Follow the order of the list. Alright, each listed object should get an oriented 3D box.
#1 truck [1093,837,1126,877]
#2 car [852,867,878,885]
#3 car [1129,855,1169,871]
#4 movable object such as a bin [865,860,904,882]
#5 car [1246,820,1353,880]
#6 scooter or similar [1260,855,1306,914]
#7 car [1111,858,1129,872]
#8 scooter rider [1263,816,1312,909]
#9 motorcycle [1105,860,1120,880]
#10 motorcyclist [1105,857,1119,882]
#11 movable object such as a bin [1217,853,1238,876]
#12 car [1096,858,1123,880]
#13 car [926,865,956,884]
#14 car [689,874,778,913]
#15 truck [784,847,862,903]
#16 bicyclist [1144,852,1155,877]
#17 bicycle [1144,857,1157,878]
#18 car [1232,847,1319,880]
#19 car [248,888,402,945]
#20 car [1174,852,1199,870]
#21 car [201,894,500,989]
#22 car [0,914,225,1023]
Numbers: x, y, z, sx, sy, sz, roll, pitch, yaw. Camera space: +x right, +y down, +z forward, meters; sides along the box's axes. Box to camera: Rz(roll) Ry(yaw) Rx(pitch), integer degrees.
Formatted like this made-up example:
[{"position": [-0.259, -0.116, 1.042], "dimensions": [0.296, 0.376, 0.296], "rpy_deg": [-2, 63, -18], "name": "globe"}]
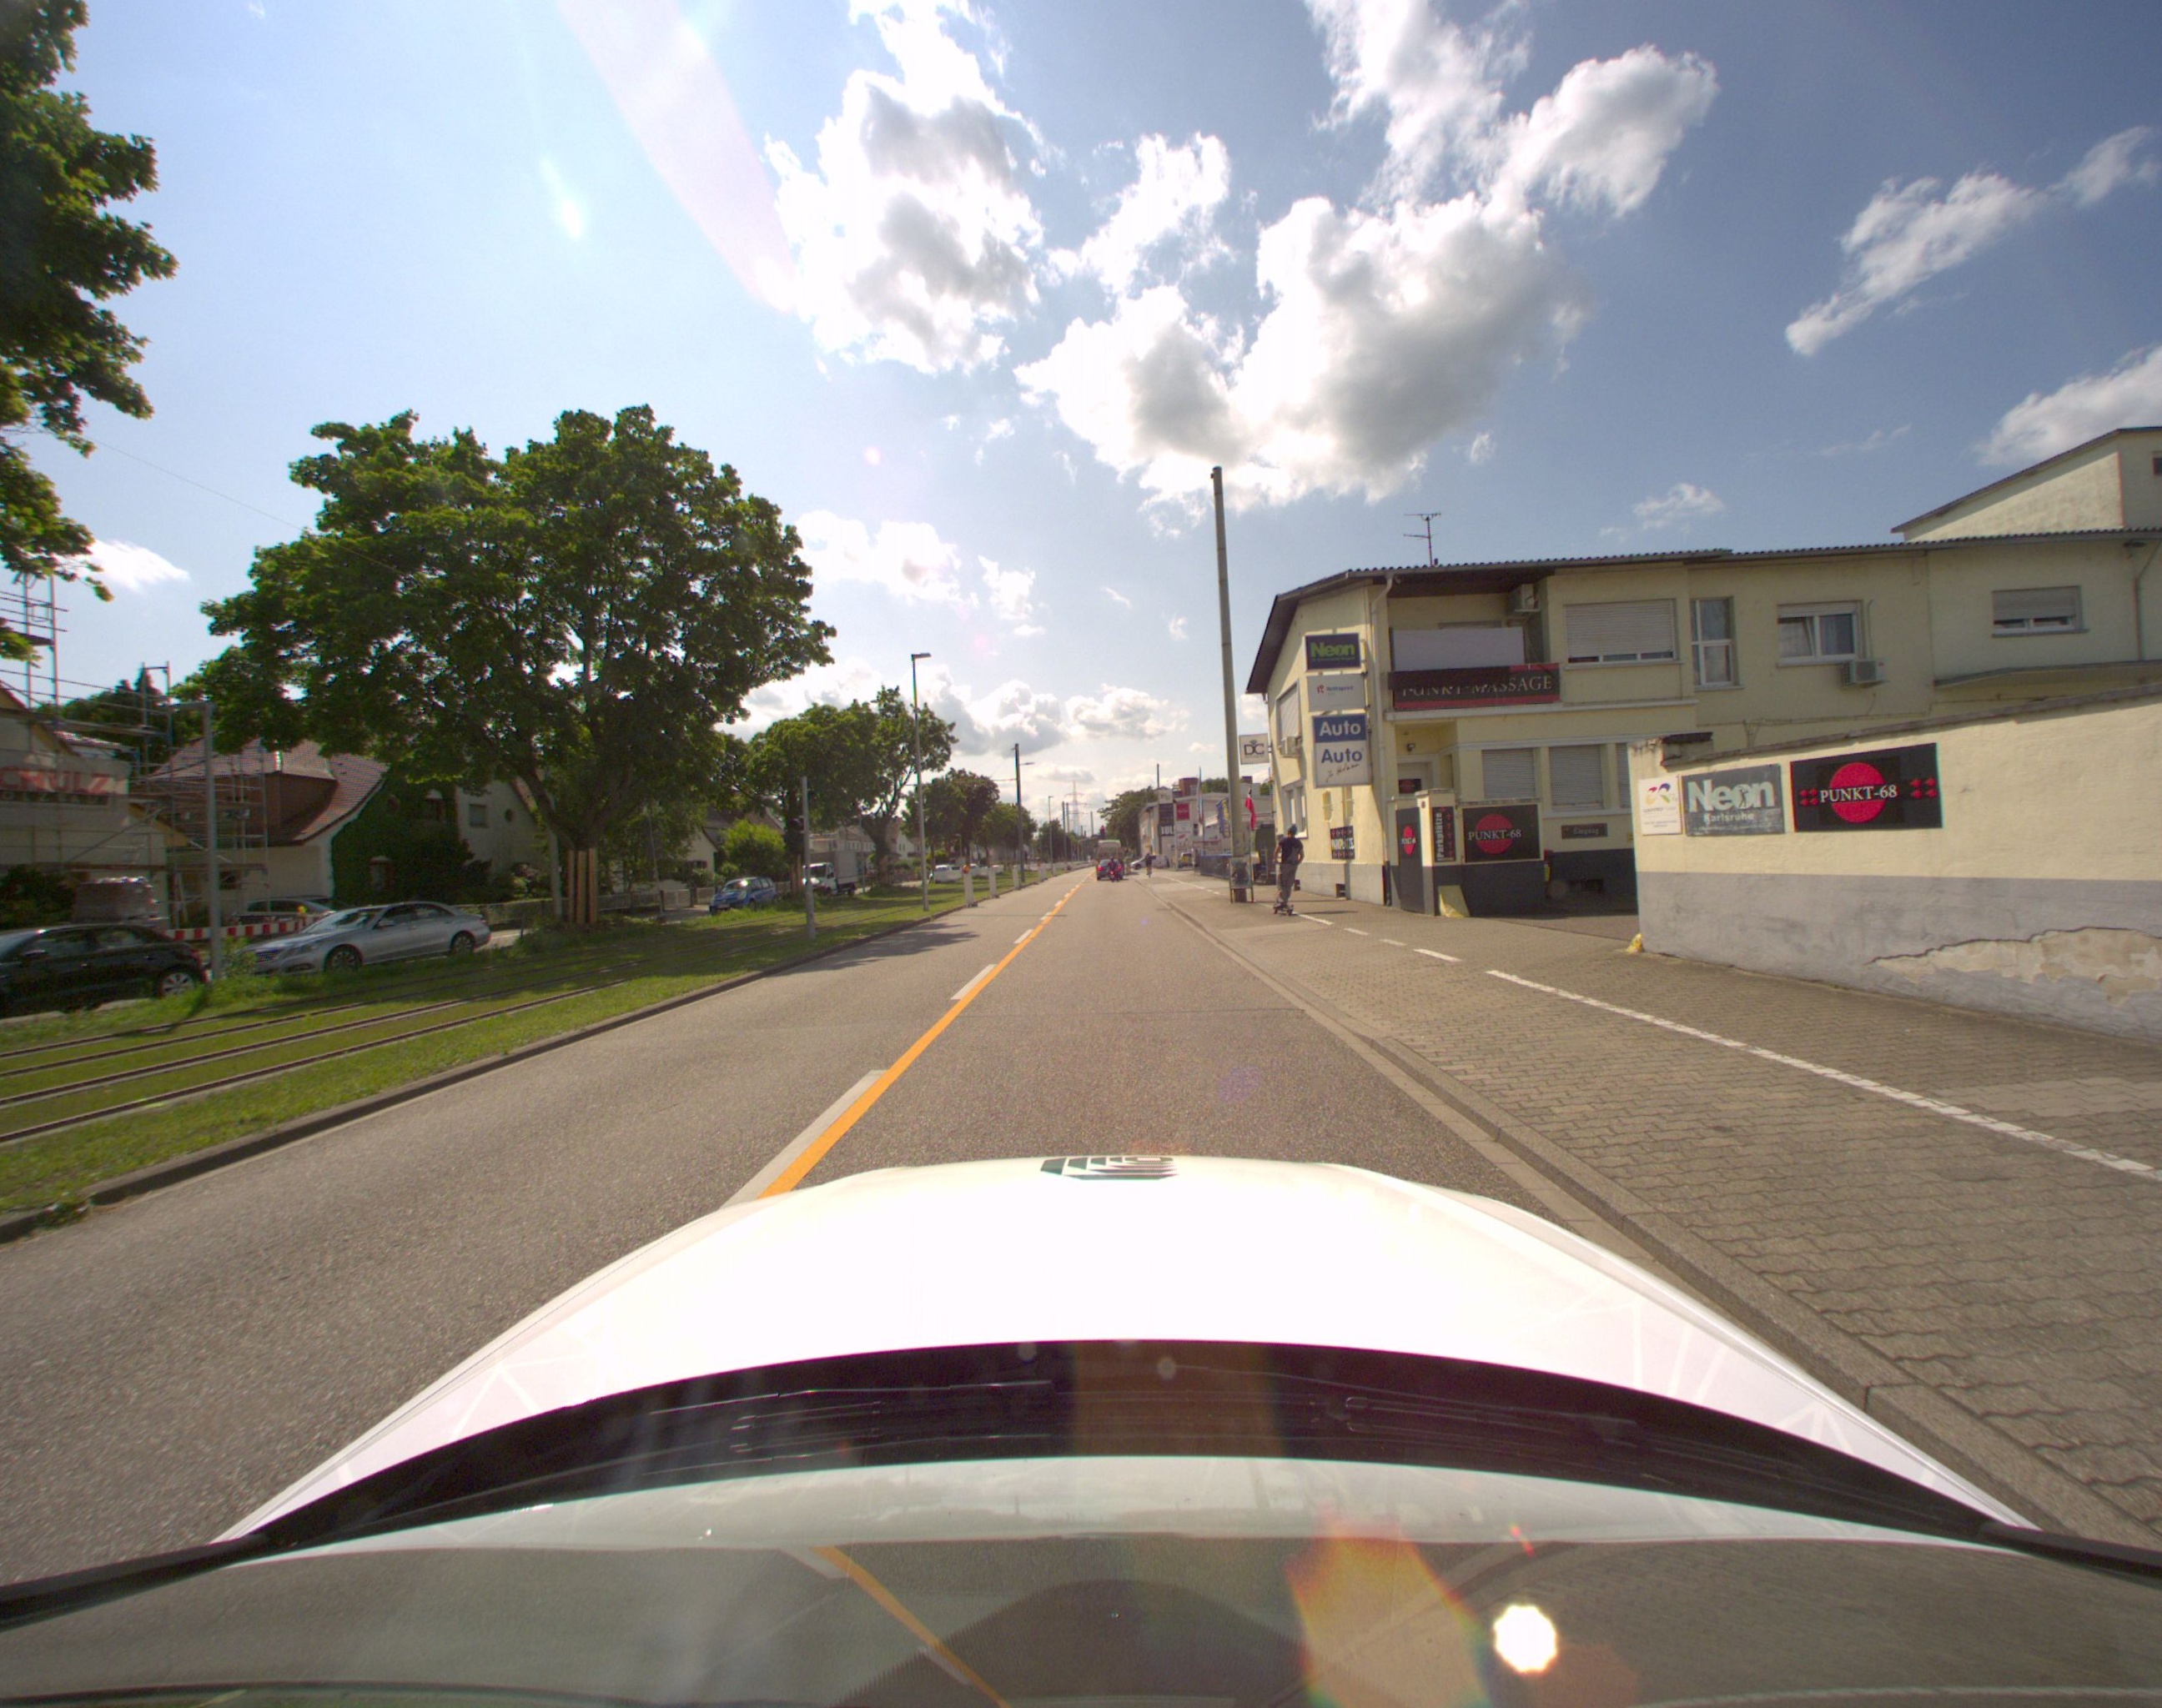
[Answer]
[{"position": [2.647, 0.209, 74.428], "dimensions": [2.600, 3.255, 9.188], "rpy_deg": [-4, 0, 3], "name": "truck"}, {"position": [-22.430, 2.298, 84.533], "dimensions": [1.678, 1.722, 3.031], "rpy_deg": [-4, -1, 2], "name": "car"}, {"position": [8.009, 1.038, 95.722], "dimensions": [4.325, 1.551, 1.945], "rpy_deg": [-3, -1, -7], "name": "car"}, {"position": [-24.055, 2.080, 99.700], "dimensions": [4.351, 2.449, 1.776], "rpy_deg": [-3, -1, -20], "name": "movable object such as a bin"}, {"position": [10.385, -0.160, 38.982], "dimensions": [4.517, 2.573, 2.153], "rpy_deg": [-3, -1, 3], "name": "car"}, {"position": [4.415, 0.659, 17.889], "dimensions": [0.538, 1.195, 1.611], "rpy_deg": [-5, -1, 2], "name": "scooter or similar"}, {"position": [4.154, 1.161, 87.534], "dimensions": [1.814, 1.464, 4.002], "rpy_deg": [-2, 0, 2], "name": "car"}, {"position": [4.546, 0.182, 17.980], "dimensions": [0.714, 1.963, 0.786], "rpy_deg": [-6, 0, 3], "name": "scooter rider"}, {"position": [2.058, 1.054, 53.891], "dimensions": [0.936, 1.320, 2.646], "rpy_deg": [-1, -1, 2], "name": "motorcycle"}, {"position": [2.053, 1.004, 53.710], "dimensions": [0.936, 1.615, 1.205], "rpy_deg": [-1, -1, 2], "name": "motorcyclist"}, {"position": [9.959, 0.726, 55.500], "dimensions": [1.251, 1.444, 0.824], "rpy_deg": [-4, -1, 2], "name": "movable object such as a bin"}, {"position": [2.040, 1.045, 58.368], "dimensions": [1.815, 1.424, 4.002], "rpy_deg": [-2, 0, 2], "name": "car"}, {"position": [-13.731, 2.007, 79.966], "dimensions": [1.986, 1.750, 4.001], "rpy_deg": [-4, -1, 2], "name": "car"}, {"position": [-14.779, 1.634, 34.878], "dimensions": [1.987, 1.453, 3.999], "rpy_deg": [-4, -1, 0], "name": "car"}, {"position": [-14.450, 1.114, 46.081], "dimensions": [1.986, 2.767, 6.278], "rpy_deg": [-6, 0, 2], "name": "truck"}, {"position": [4.820, 0.729, 57.455], "dimensions": [0.669, 1.744, 0.814], "rpy_deg": [-3, -1, 1], "name": "bicyclist"}, {"position": [4.894, 0.939, 57.452], "dimensions": [0.690, 1.361, 2.419], "rpy_deg": [-3, 0, 2], "name": "bicycle"}, {"position": [9.933, 0.510, 41.790], "dimensions": [4.159, 1.431, 1.825], "rpy_deg": [-3, -1, 8], "name": "car"}, {"position": [-26.690, 2.178, 28.838], "dimensions": [3.634, 1.684, 1.873], "rpy_deg": [-4, -1, 1], "name": "car"}, {"position": [10.999, 0.738, 84.970], "dimensions": [1.953, 1.649, 3.999], "rpy_deg": [-4, -1, 0], "name": "car"}, {"position": [-15.309, 1.748, 17.564], "dimensions": [1.798, 1.482, 4.942], "rpy_deg": [-4, -1, 2], "name": "car"}, {"position": [-15.630, 1.735, 11.913], "dimensions": [1.986, 1.317, 3.854], "rpy_deg": [-5, -1, 2], "name": "car"}]
